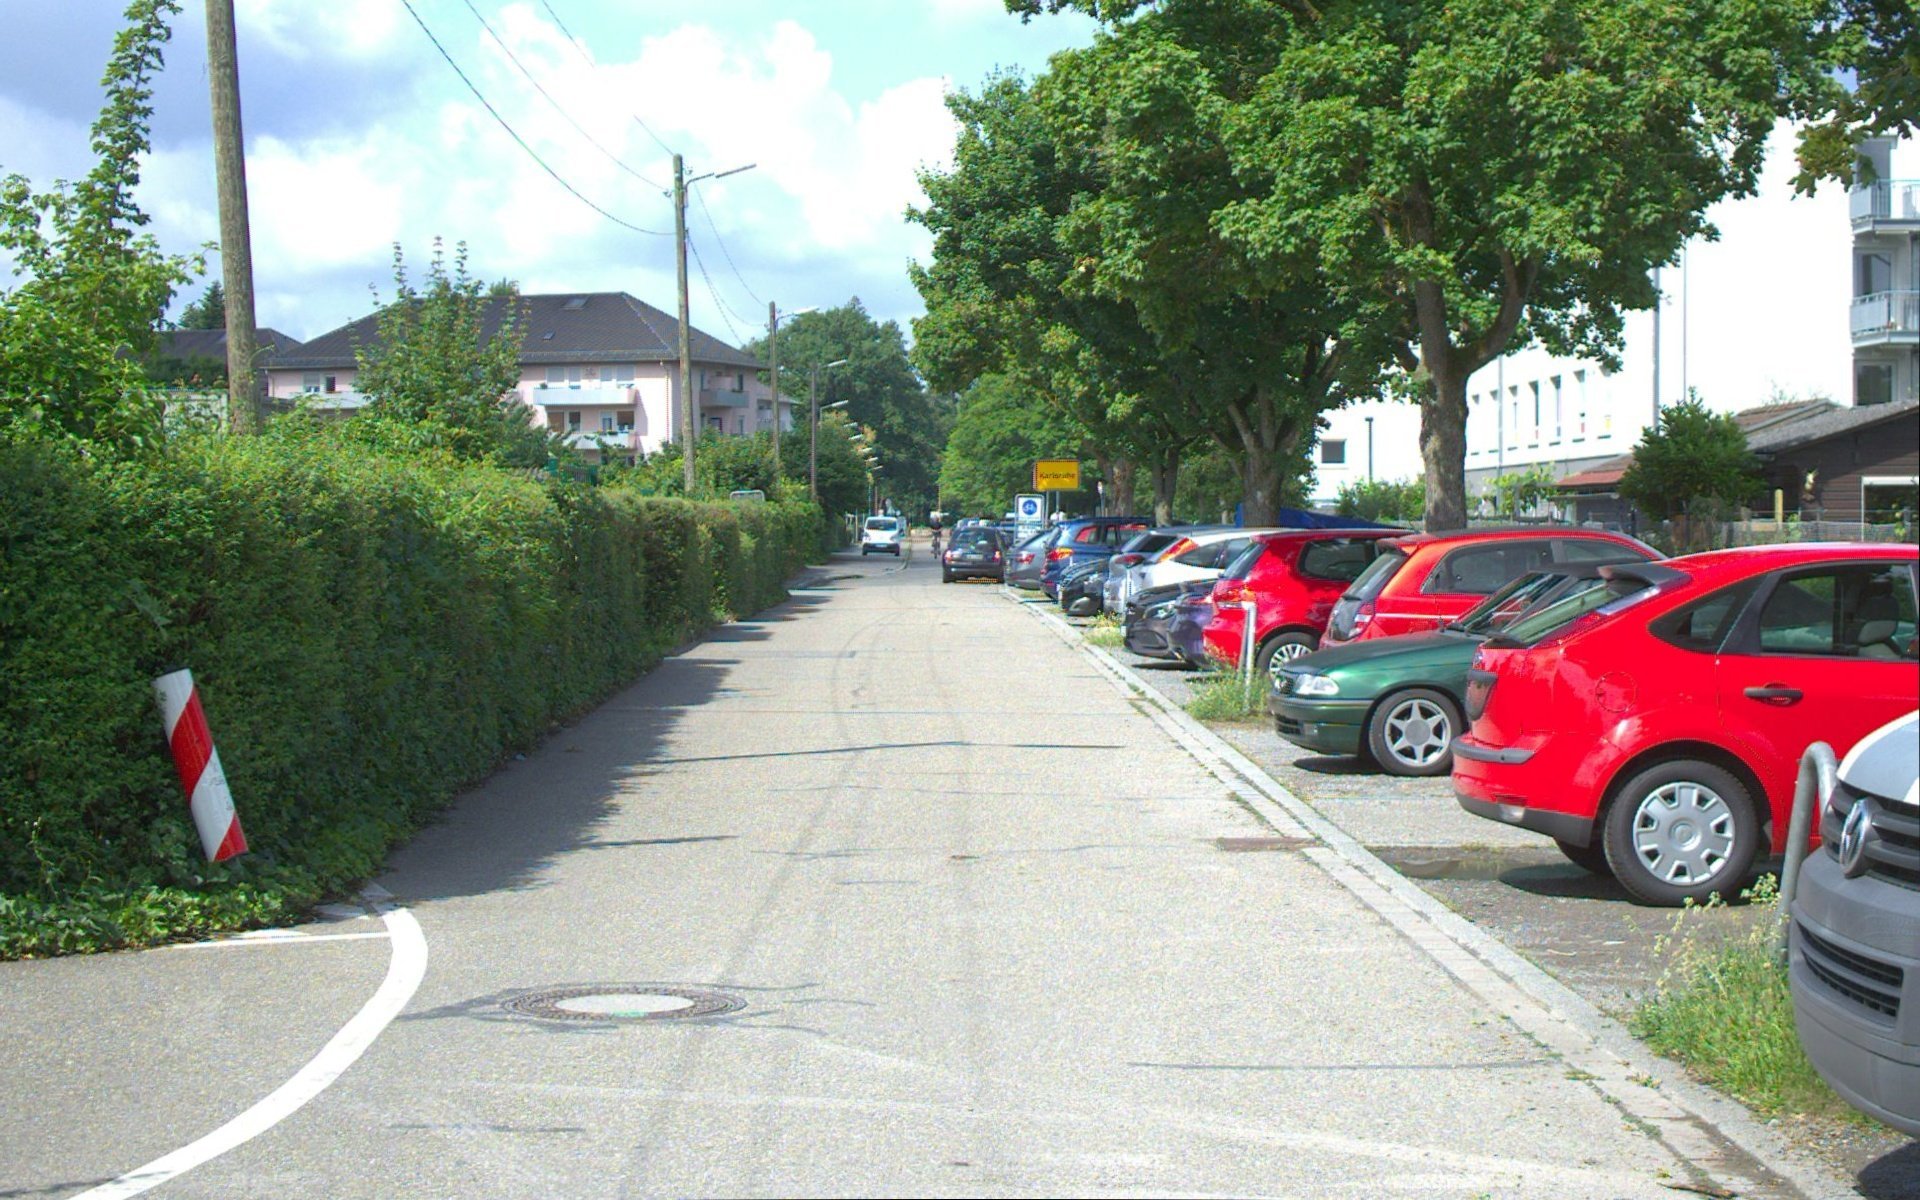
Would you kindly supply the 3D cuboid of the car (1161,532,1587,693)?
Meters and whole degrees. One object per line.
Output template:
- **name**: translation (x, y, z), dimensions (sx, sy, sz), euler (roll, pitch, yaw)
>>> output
- **car**: translation (3.929, 0.100, 33.167), dimensions (3.910, 1.419, 1.958), euler (1, 1, 3)

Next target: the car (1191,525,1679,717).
- **car**: translation (4.025, 0.155, 29.653), dimensions (3.987, 1.514, 1.854), euler (1, 1, 3)

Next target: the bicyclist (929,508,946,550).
- **bicyclist**: translation (-0.997, -3.147, 152.855), dimensions (0.659, 1.846, 1.043), euler (-1, 1, 2)

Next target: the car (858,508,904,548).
- **car**: translation (-3.665, -3.325, 160.052), dimensions (1.903, 1.808, 4.000), euler (1, 1, 2)

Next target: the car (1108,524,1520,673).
- **car**: translation (3.687, -0.027, 36.332), dimensions (4.065, 1.450, 1.870), euler (1, 1, -3)

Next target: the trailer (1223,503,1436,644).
- **trailer**: translation (4.721, -0.353, 44.132), dimensions (2.449, 1.714, 1.518), euler (1, 2, -4)

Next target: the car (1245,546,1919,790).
- **car**: translation (4.099, 0.410, 22.130), dimensions (4.238, 1.423, 1.909), euler (1, 1, -4)

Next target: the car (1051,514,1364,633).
- **car**: translation (3.525, -0.384, 49.600), dimensions (4.302, 1.588, 2.000), euler (1, 1, -1)

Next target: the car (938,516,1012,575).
- **car**: translation (0.420, -1.453, 91.530), dimensions (1.663, 1.501, 4.000), euler (1, 1, 4)

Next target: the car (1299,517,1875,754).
- **car**: translation (4.457, 0.231, 24.853), dimensions (3.764, 1.568, 1.870), euler (1, 1, -1)

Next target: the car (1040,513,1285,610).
- **car**: translation (3.520, -0.683, 60.244), dimensions (4.154, 1.632, 1.879), euler (-1, 1, 0)

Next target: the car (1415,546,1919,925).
- **car**: translation (4.197, 0.561, 14.909), dimensions (4.183, 1.499, 1.878), euler (1, 1, 1)

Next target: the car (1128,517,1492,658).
- **car**: translation (4.004, -0.158, 39.938), dimensions (4.065, 1.506, 1.958), euler (1, 1, 3)

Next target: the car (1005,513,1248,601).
- **car**: translation (3.205, -0.838, 66.838), dimensions (4.548, 1.573, 1.809), euler (1, 1, -2)

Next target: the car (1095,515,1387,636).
- **car**: translation (3.808, -0.343, 47.018), dimensions (3.723, 1.534, 1.850), euler (1, 1, -3)

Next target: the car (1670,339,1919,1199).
- **car**: translation (4.066, 0.394, 7.253), dimensions (4.634, 1.880, 2.112), euler (-1, 1, -2)
